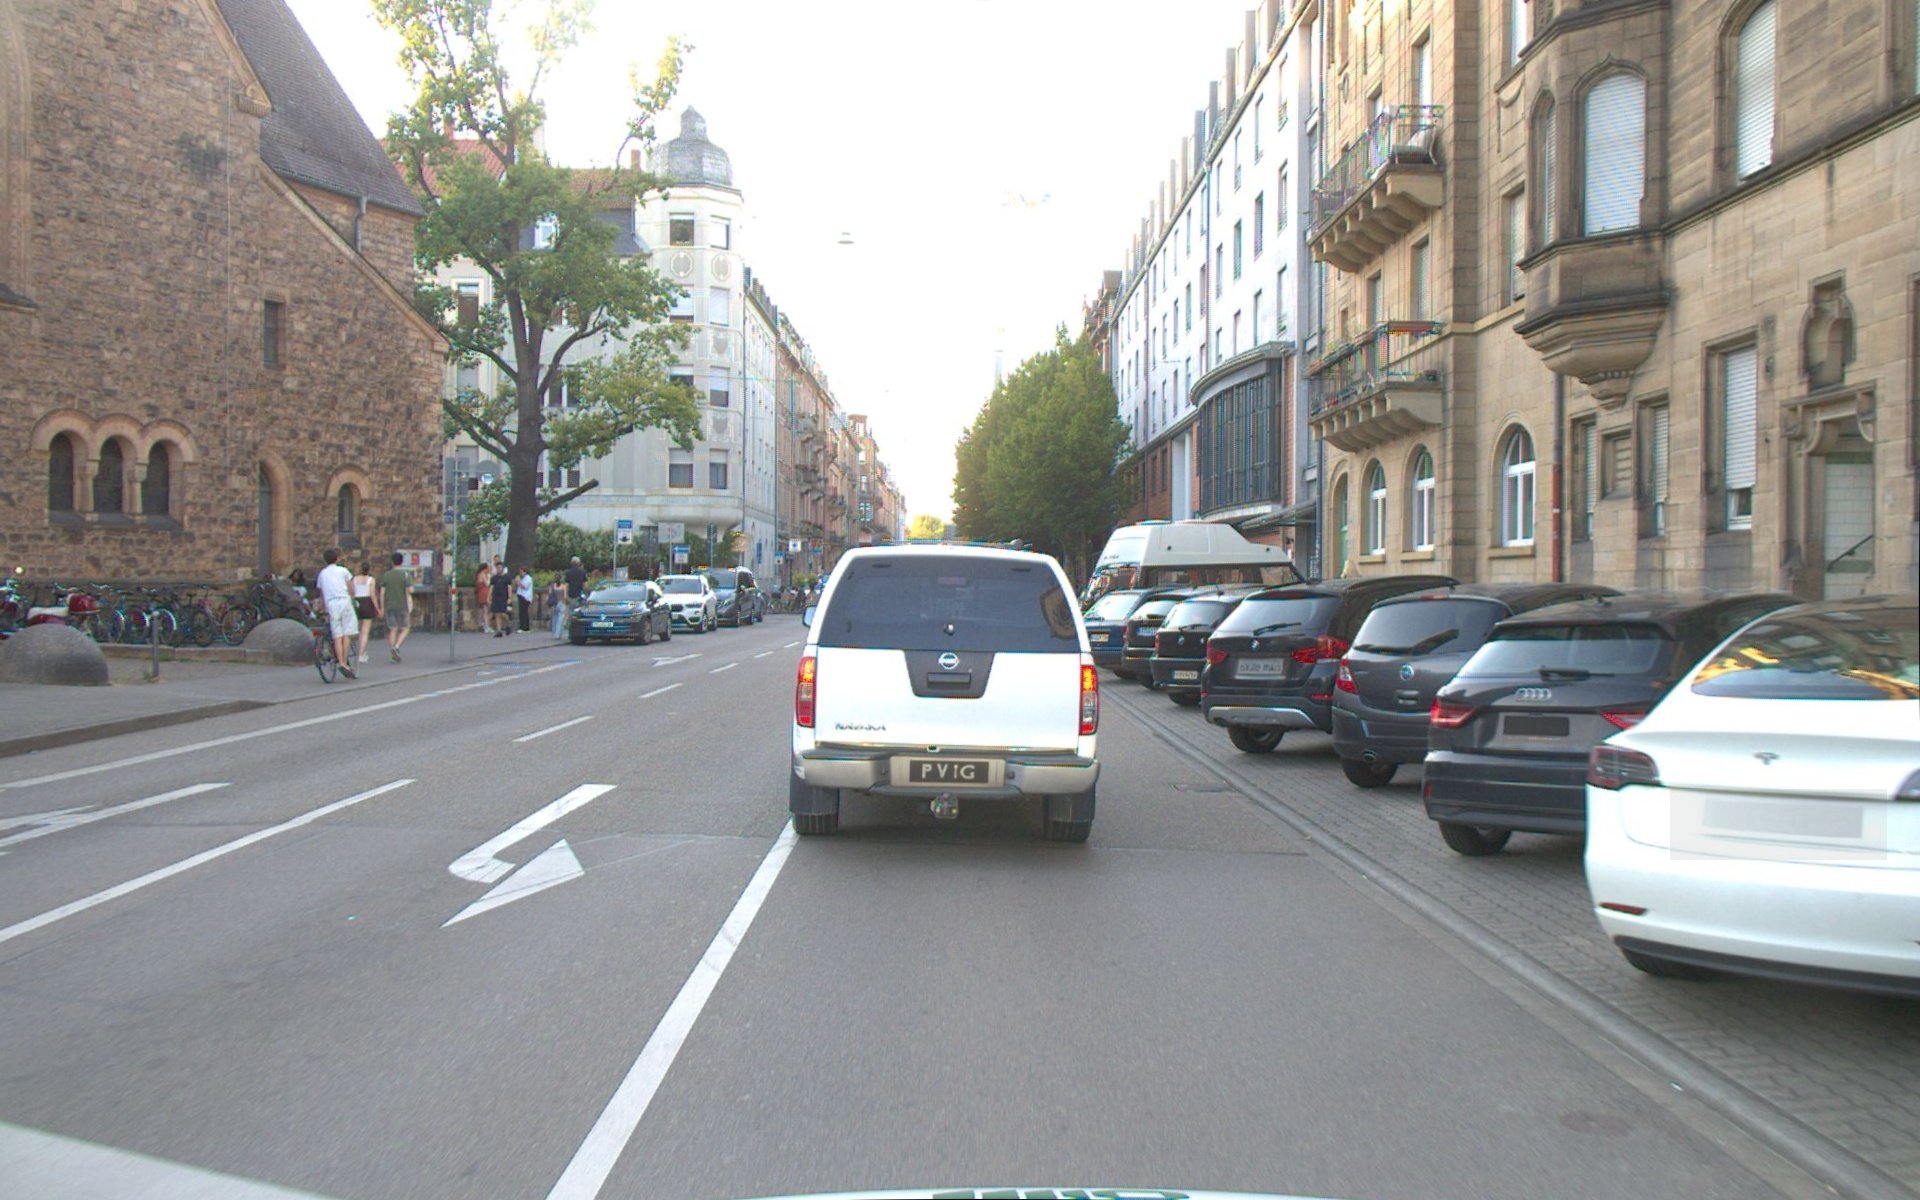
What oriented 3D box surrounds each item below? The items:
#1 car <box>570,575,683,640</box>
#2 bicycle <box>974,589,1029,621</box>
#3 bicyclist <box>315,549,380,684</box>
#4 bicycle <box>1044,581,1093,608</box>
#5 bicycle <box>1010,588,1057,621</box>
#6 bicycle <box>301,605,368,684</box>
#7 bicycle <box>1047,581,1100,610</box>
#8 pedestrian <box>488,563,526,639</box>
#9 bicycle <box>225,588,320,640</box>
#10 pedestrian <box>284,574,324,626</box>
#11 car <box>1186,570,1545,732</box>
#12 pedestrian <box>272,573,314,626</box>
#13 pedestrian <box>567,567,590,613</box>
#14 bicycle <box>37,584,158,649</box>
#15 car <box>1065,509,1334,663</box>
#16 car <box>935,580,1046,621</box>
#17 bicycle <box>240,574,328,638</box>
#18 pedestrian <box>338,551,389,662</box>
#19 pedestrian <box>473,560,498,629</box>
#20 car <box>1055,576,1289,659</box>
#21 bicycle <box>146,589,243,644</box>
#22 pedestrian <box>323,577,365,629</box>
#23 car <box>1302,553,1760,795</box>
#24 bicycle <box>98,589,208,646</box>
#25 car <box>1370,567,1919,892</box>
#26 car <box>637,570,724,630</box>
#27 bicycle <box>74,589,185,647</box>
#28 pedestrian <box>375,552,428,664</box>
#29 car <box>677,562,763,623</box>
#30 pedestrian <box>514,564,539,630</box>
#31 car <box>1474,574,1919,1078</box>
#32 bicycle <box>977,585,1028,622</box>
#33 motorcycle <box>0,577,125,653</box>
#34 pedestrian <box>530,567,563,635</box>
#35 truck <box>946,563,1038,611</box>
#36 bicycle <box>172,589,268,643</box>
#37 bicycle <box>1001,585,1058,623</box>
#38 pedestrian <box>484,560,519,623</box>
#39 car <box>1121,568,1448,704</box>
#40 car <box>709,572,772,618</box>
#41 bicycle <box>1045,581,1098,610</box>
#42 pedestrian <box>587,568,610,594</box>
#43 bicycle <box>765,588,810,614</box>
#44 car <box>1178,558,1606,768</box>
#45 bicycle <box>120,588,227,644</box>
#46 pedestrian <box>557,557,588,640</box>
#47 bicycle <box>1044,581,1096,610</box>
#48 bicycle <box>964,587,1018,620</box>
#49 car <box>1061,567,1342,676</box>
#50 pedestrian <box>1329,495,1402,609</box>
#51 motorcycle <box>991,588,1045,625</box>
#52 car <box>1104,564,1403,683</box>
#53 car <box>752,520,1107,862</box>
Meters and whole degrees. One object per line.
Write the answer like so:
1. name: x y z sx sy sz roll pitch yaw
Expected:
1. car: -7.837 0.144 39.238 1.746 1.460 4.316 0 1 1
2. bicycle: 1.425 0.165 56.659 1.820 1.056 0.472 -2 0 -2
3. bicyclist: -8.870 0.231 23.991 0.693 1.913 0.940 2 0 -11
4. bicycle: 5.538 -0.284 84.269 2.481 1.403 0.599 0 0 2
5. bicycle: 2.490 0.154 56.061 1.508 1.056 0.472 -2 0 -2
6. bicycle: -9.068 0.625 24.040 0.542 1.030 2.182 2 1 -12
7. bicycle: 5.363 -0.220 78.493 2.481 1.403 0.599 0 0 2
8. pedestrian: -10.587 0.011 38.678 0.699 1.755 0.692 0 0 0
9. bicycle: -13.567 0.263 32.627 1.838 1.006 0.442 0 0 15
10. pedestrian: -13.720 0.000 34.582 0.487 1.066 0.608 1 0 20
11. car: 4.615 0.507 18.596 4.013 1.524 1.732 -3 1 -36
12. pedestrian: -13.653 -0.005 33.856 0.729 1.066 0.515 0 0 -31
13. pedestrian: -14.474 -0.381 62.822 0.692 1.751 0.836 0 0 -2
14. bicycle: -15.075 0.286 28.913 1.959 1.006 0.586 3 1 15
15. car: 4.338 -0.229 29.809 4.660 2.591 1.899 0 0 -30
16. car: 1.164 0.005 63.326 3.944 1.533 1.753 0 0 -30
17. bicycle: -13.526 0.117 33.084 1.691 1.270 0.437 0 0 14
18. pedestrian: -10.328 0.102 28.652 0.561 1.889 0.988 0 0 -3
19. pedestrian: -11.825 -0.132 41.227 0.411 1.704 0.541 0 0 -40
20. car: 4.160 0.315 32.333 4.293 1.529 1.895 0 1 -29
21. bicycle: -14.336 0.300 30.975 1.838 1.006 0.370 0 0 15
22. pedestrian: -12.914 0.056 34.705 0.505 1.074 0.700 0 0 16
23. car: 4.582 0.488 13.012 3.883 1.571 1.691 -2 -1 -42
24. bicycle: -14.650 0.304 30.018 1.959 1.006 0.466 0 0 15
25. car: 4.368 0.605 9.760 3.881 1.471 1.847 -2 0 -41
26. car: -7.928 -0.022 47.246 1.833 1.619 4.467 0 1 -2
27. bicycle: -14.832 0.307 29.539 1.959 1.006 0.466 0 0 15
28. pedestrian: -9.692 0.137 28.717 0.634 1.912 0.891 0 0 -4
29. car: -7.824 -0.256 54.368 1.952 1.899 5.290 1 1 1
30. pedestrian: -10.929 -0.073 41.692 0.411 1.650 0.541 0 0 -40
31. car: 4.148 0.638 6.663 4.213 1.478 1.972 -2 0 -39
32. bicycle: 1.422 0.109 55.490 1.673 1.196 0.472 -2 0 -2
33. motorcycle: -15.146 0.235 27.237 2.364 1.145 0.822 2 1 3
34. pedestrian: -9.772 0.024 39.117 0.570 1.579 0.839 1 0 -4
35. truck: 2.169 -0.857 113.111 6.190 3.029 2.264 1 -2 1
36. bicycle: -14.055 0.300 31.407 1.838 1.006 0.370 0 0 14
37. bicycle: 2.294 0.133 54.862 1.821 1.166 0.659 -3 1 -1
38. pedestrian: -11.645 -0.223 42.000 0.637 1.572 0.585 1 0 23
39. car: 4.200 0.412 21.220 3.988 1.456 1.845 -3 1 -35
40. car: -7.864 -0.191 59.498 1.606 1.583 4.005 1 1 2
41. bicycle: 5.334 -0.226 79.207 2.481 1.403 0.599 0 0 2
42. pedestrian: -13.733 -0.731 62.825 0.692 0.997 0.836 0 0 -2
43. bicycle: -7.849 0.039 75.371 2.068 1.114 0.501 1 2 25
44. car: 4.118 0.496 15.481 4.058 1.635 1.791 -3 1 -39
45. bicycle: -14.516 0.293 30.508 1.942 1.006 0.466 0 0 15
46. pedestrian: -9.176 -0.032 39.194 0.570 1.938 0.802 0 0 -4
47. bicycle: 5.355 -0.209 80.584 2.481 1.403 0.599 0 0 2
48. bicycle: 1.068 0.122 57.607 1.820 1.084 0.445 -2 0 -2
49. car: 3.953 0.307 26.881 4.341 1.512 1.824 -3 1 -31
50. pedestrian: 7.679 -0.913 31.369 0.597 2.039 0.858 18 2 2
51. motorcycle: 1.873 0.207 53.694 1.614 1.121 0.646 -2 1 -9
52. car: 4.304 0.331 24.157 4.062 1.573 1.778 -1 -1 -29
53. car: -0.193 0.456 11.146 1.894 1.826 4.621 0 1 -1
